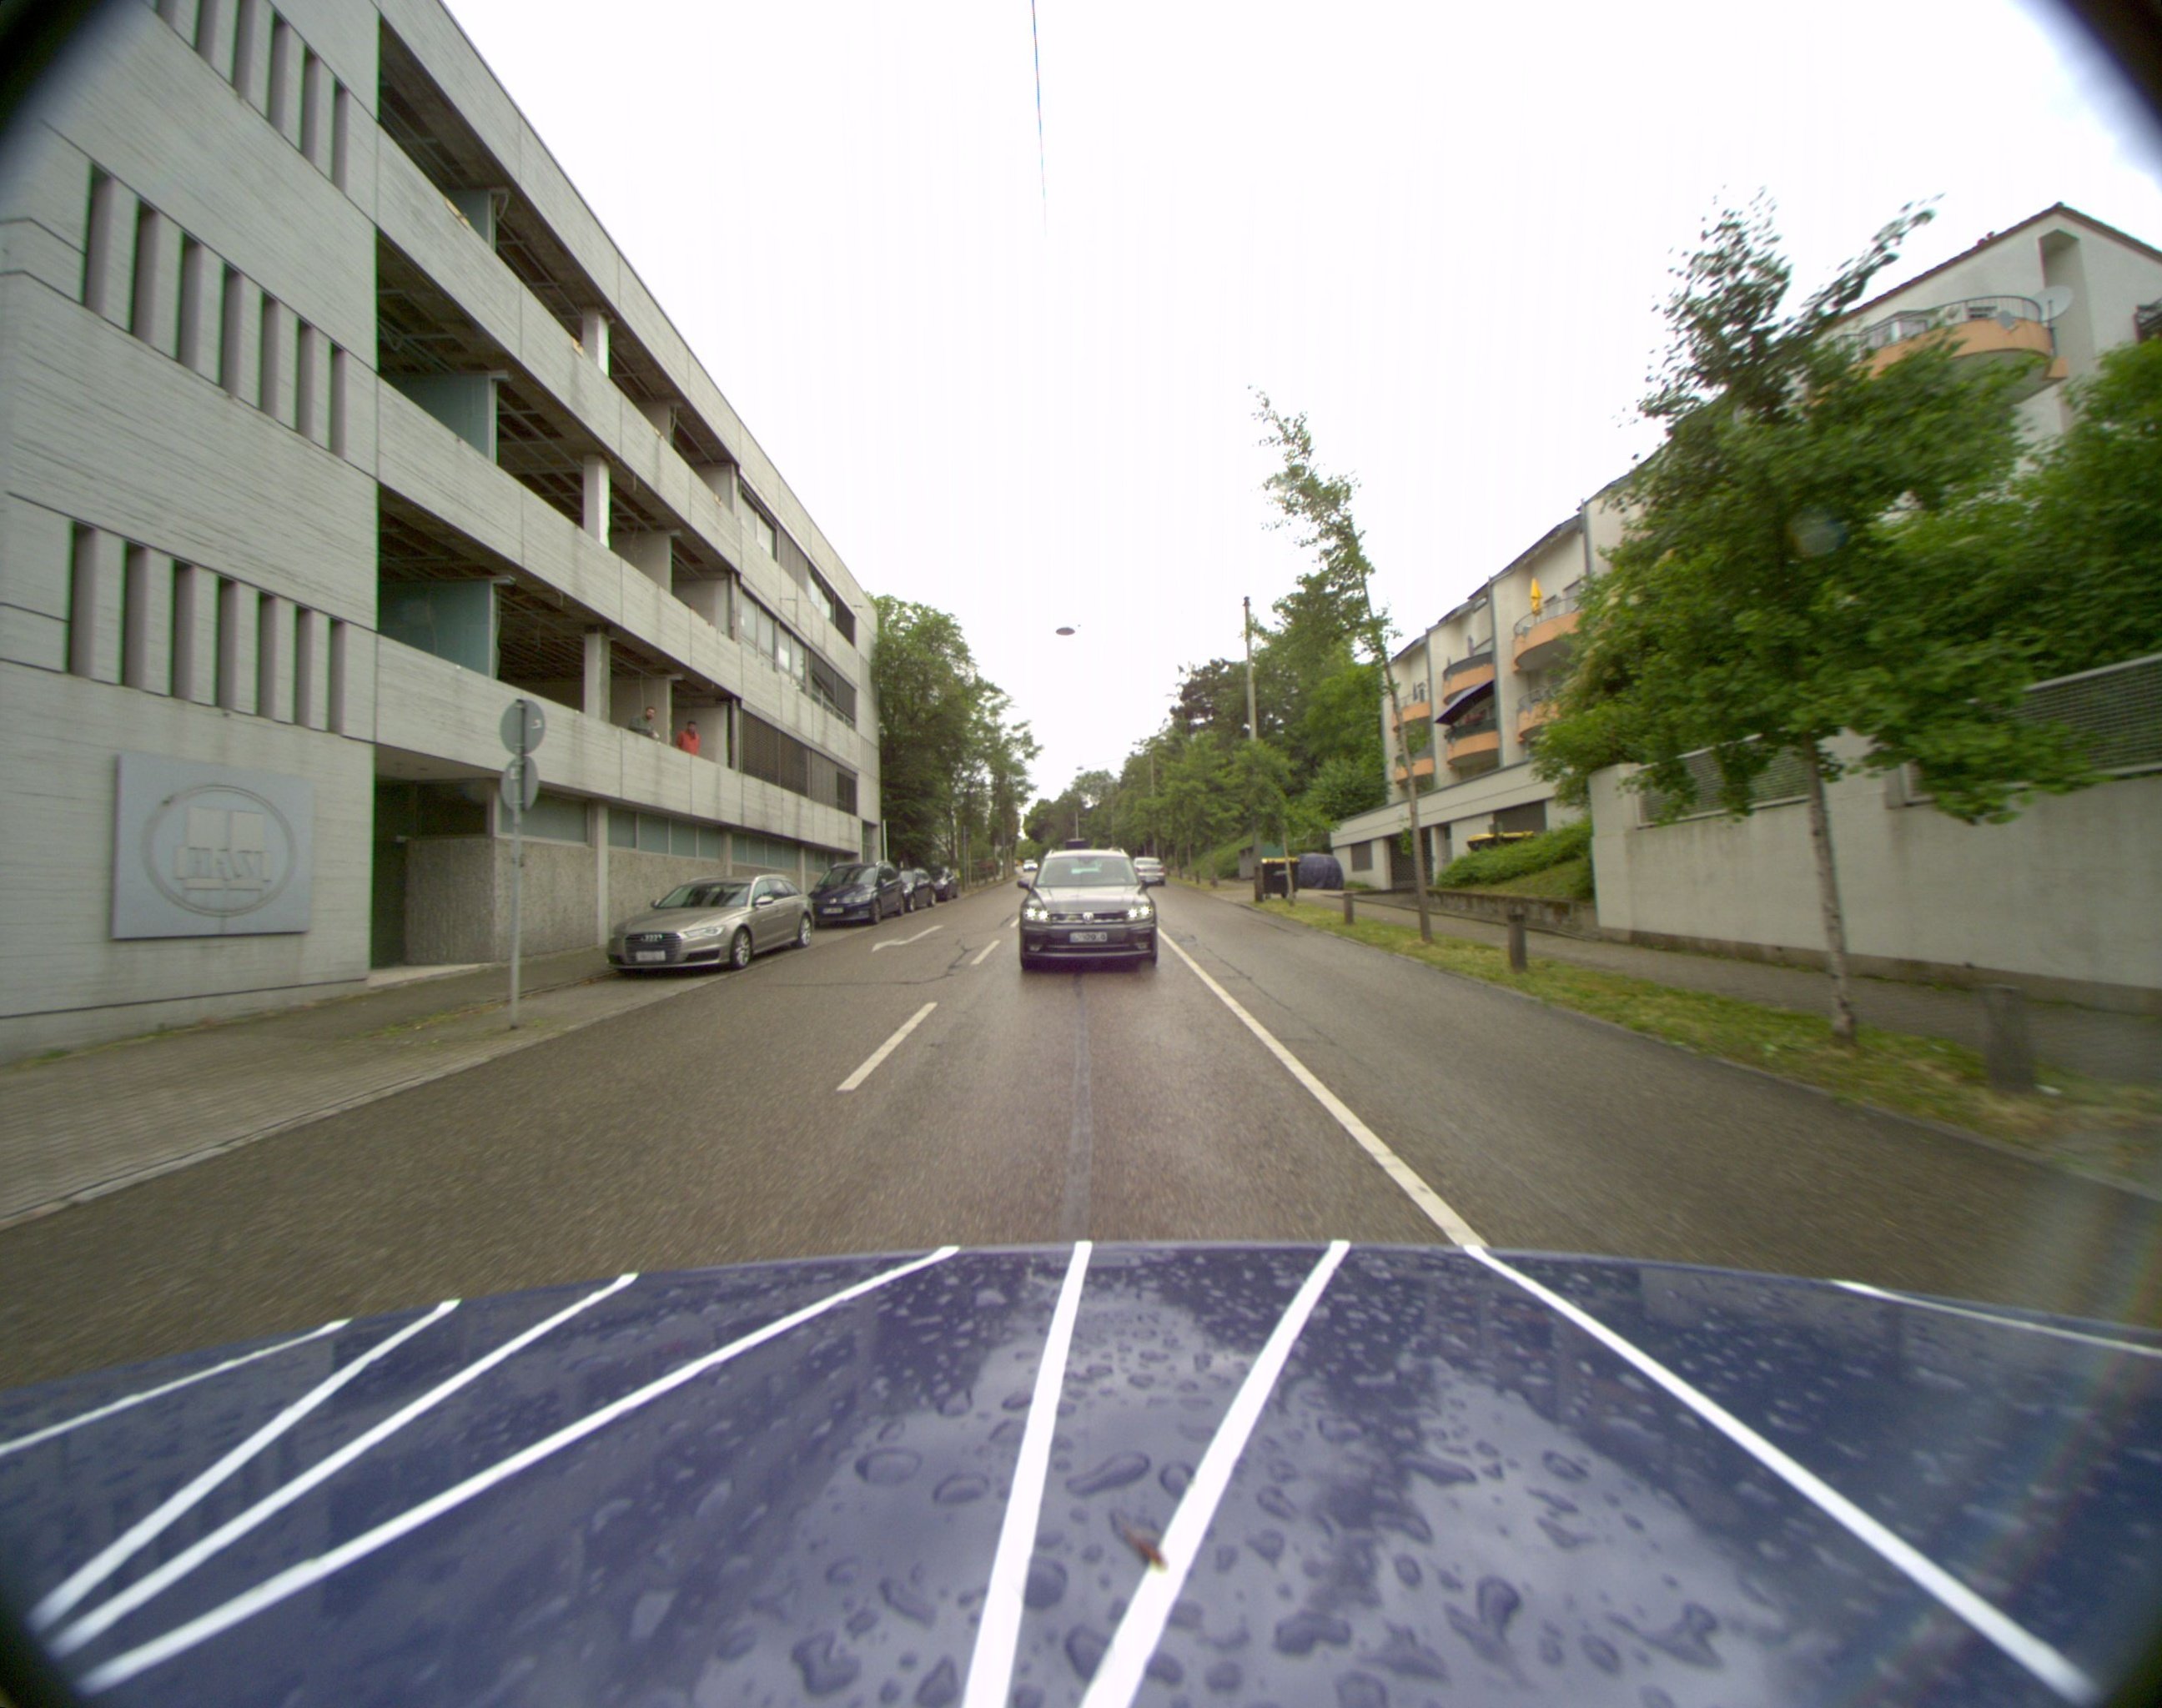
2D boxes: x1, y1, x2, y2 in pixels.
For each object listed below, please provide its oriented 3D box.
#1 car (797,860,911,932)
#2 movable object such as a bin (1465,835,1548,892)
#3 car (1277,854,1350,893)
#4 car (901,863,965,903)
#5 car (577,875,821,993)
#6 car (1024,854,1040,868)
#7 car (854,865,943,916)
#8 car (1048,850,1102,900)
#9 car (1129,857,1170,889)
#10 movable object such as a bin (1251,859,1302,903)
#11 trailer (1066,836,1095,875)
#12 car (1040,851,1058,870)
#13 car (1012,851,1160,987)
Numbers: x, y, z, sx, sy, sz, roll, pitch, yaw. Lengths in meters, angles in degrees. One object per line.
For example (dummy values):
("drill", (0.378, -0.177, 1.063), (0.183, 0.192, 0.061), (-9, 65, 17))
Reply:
("car", (-6.031, 1.053, 20.776), (1.749, 1.665, 4.344), (-2, 0, 0))
("movable object such as a bin", (10.426, 0.251, 18.672), (1.266, 1.307, 1.162), (-2, -3, -8))
("car", (9.964, 0.793, 32.858), (1.856, 1.483, 3.865), (3, 0, -1))
("car", (-6.019, 1.150, 31.348), (1.843, 1.436, 4.155), (-1, 0, 0))
("car", (-6.122, 1.182, 12.953), (1.819, 1.451, 4.741), (-2, 0, -1))
("car", (-7.160, 0.990, 110.260), (2.000, 2.002, 3.996), (-2, 1, -8))
("car", (-6.010, 1.162, 25.487), (1.710, 1.436, 4.098), (-2, 0, 4))
("car", (-0.182, 0.711, 27.799), (1.786, 1.631, 4.200), (-2, 0, 1))
("car", (3.480, 0.953, 39.411), (1.723, 1.376, 4.284), (-4, 1, 1))
("movable object such as a bin", (6.283, 0.853, 24.450), (1.227, 1.342, 1.122), (-2, 1, -8))
("trailer", (-0.057, 0.097, 53.376), (1.771, 2.610, 3.031), (-2, 1, -4))
("car", (-3.586, 0.727, 85.560), (1.999, 2.002, 3.998), (-2, 1, -2))
("car", (0.091, 0.798, 11.512), (1.786, 1.631, 4.200), (-2, 0, 1))
